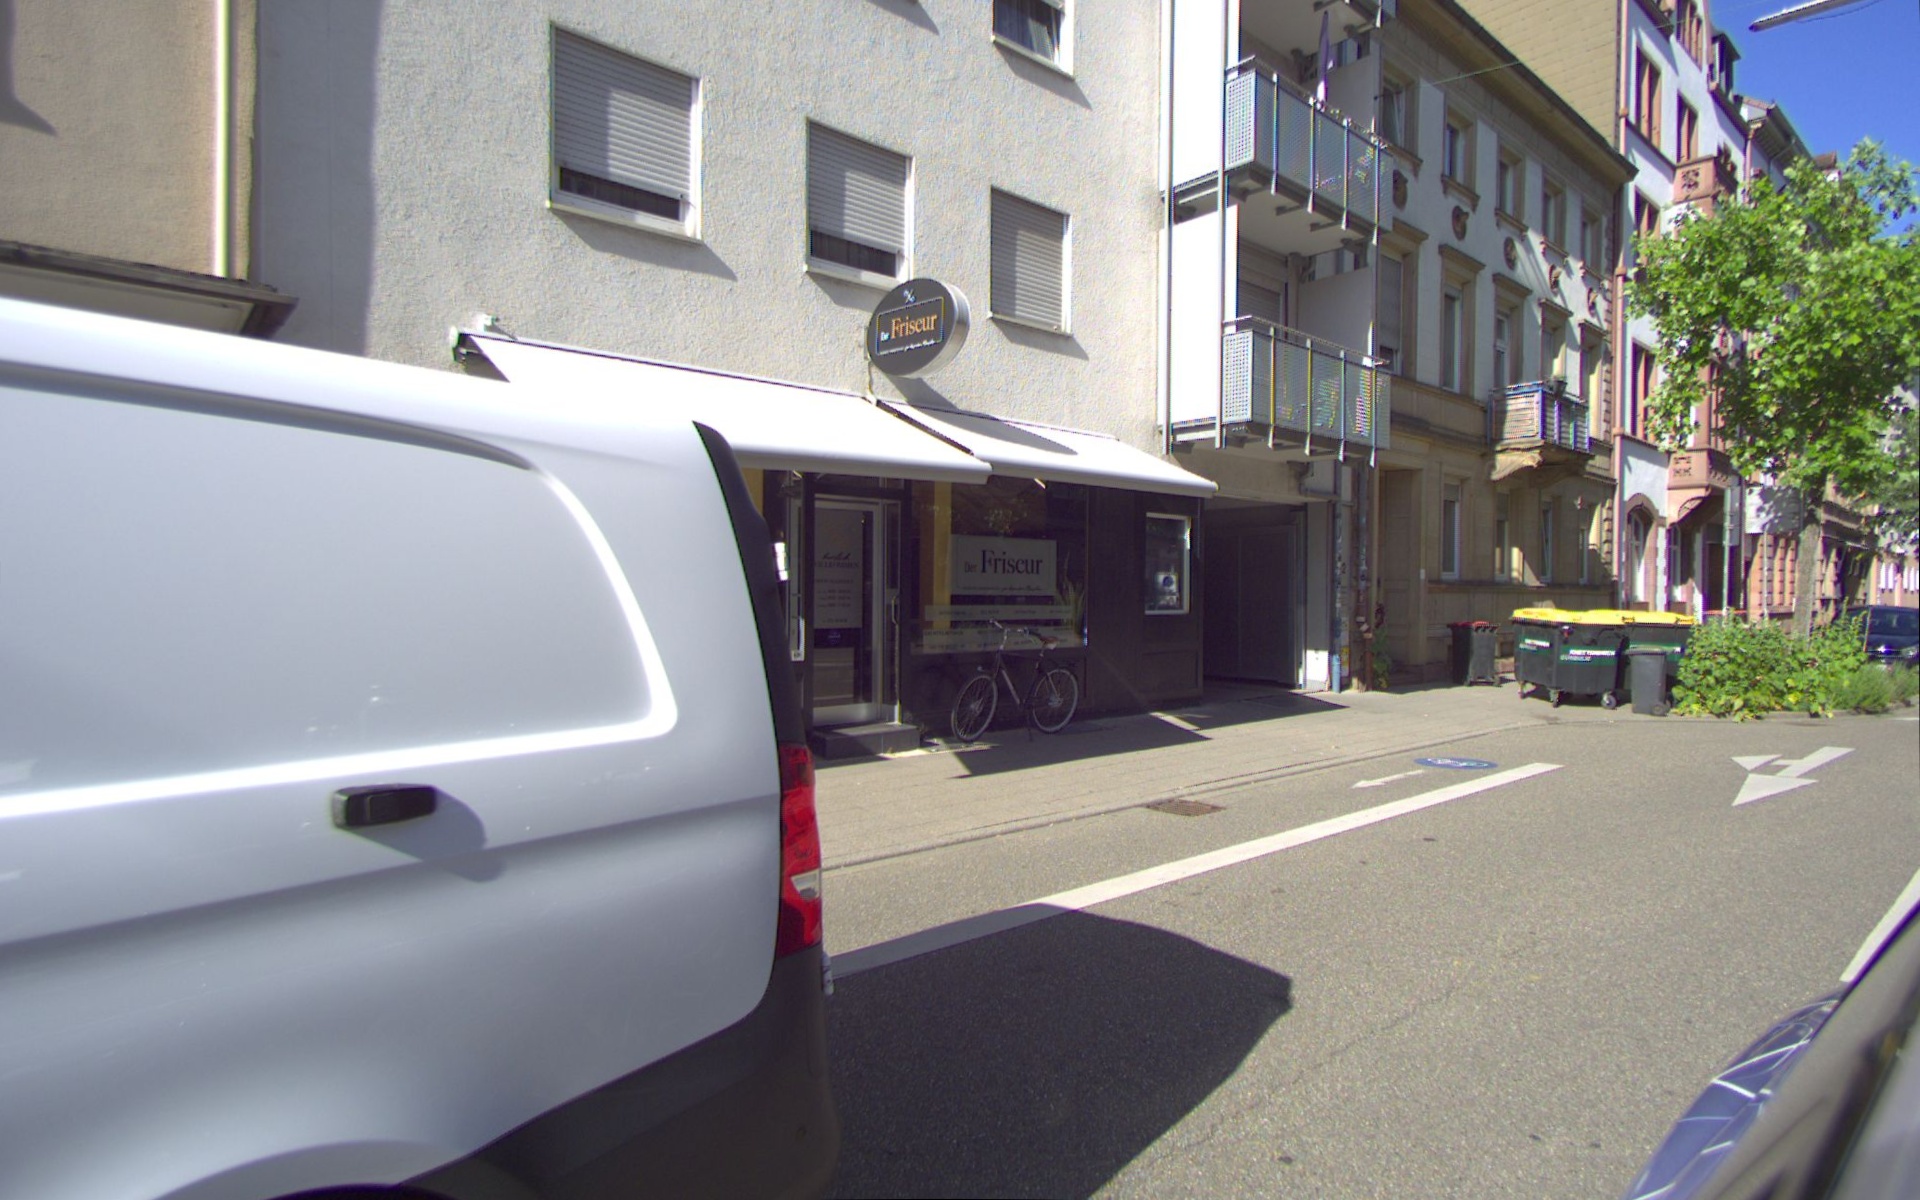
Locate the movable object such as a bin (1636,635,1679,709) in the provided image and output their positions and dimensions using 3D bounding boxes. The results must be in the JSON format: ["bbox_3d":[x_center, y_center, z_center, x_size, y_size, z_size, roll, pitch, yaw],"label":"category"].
[{"bbox_3d":[9.575,0.978,13.886,0.399,0.933,0.478,3,3,41],"label":"movable object such as a bin"}]

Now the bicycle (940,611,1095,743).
[{"bbox_3d":[0.608,0.725,10.102,1.760,1.193,0.402,0,0,-41],"label":"bicycle"}]

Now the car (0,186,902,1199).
[{"bbox_3d":[-2.519,0.504,0.885,4.912,1.892,1.838,0,1,-43],"label":"car"}]

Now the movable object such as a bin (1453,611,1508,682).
[{"bbox_3d":[8.537,0.747,16.622,0.557,1.094,0.617,1,3,1],"label":"movable object such as a bin"}]

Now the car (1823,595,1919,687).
[{"bbox_3d":[16.841,0.681,18.213,3.293,1.510,1.550,0,1,-41],"label":"car"}]

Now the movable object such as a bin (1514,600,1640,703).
[{"bbox_3d":[8.846,0.707,14.576,1.030,1.341,1.216,1,3,1],"label":"movable object such as a bin"}]

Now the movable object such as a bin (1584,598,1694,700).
[{"bbox_3d":[9.963,0.692,14.899,0.943,1.364,1.066,1,3,11],"label":"movable object such as a bin"}]
